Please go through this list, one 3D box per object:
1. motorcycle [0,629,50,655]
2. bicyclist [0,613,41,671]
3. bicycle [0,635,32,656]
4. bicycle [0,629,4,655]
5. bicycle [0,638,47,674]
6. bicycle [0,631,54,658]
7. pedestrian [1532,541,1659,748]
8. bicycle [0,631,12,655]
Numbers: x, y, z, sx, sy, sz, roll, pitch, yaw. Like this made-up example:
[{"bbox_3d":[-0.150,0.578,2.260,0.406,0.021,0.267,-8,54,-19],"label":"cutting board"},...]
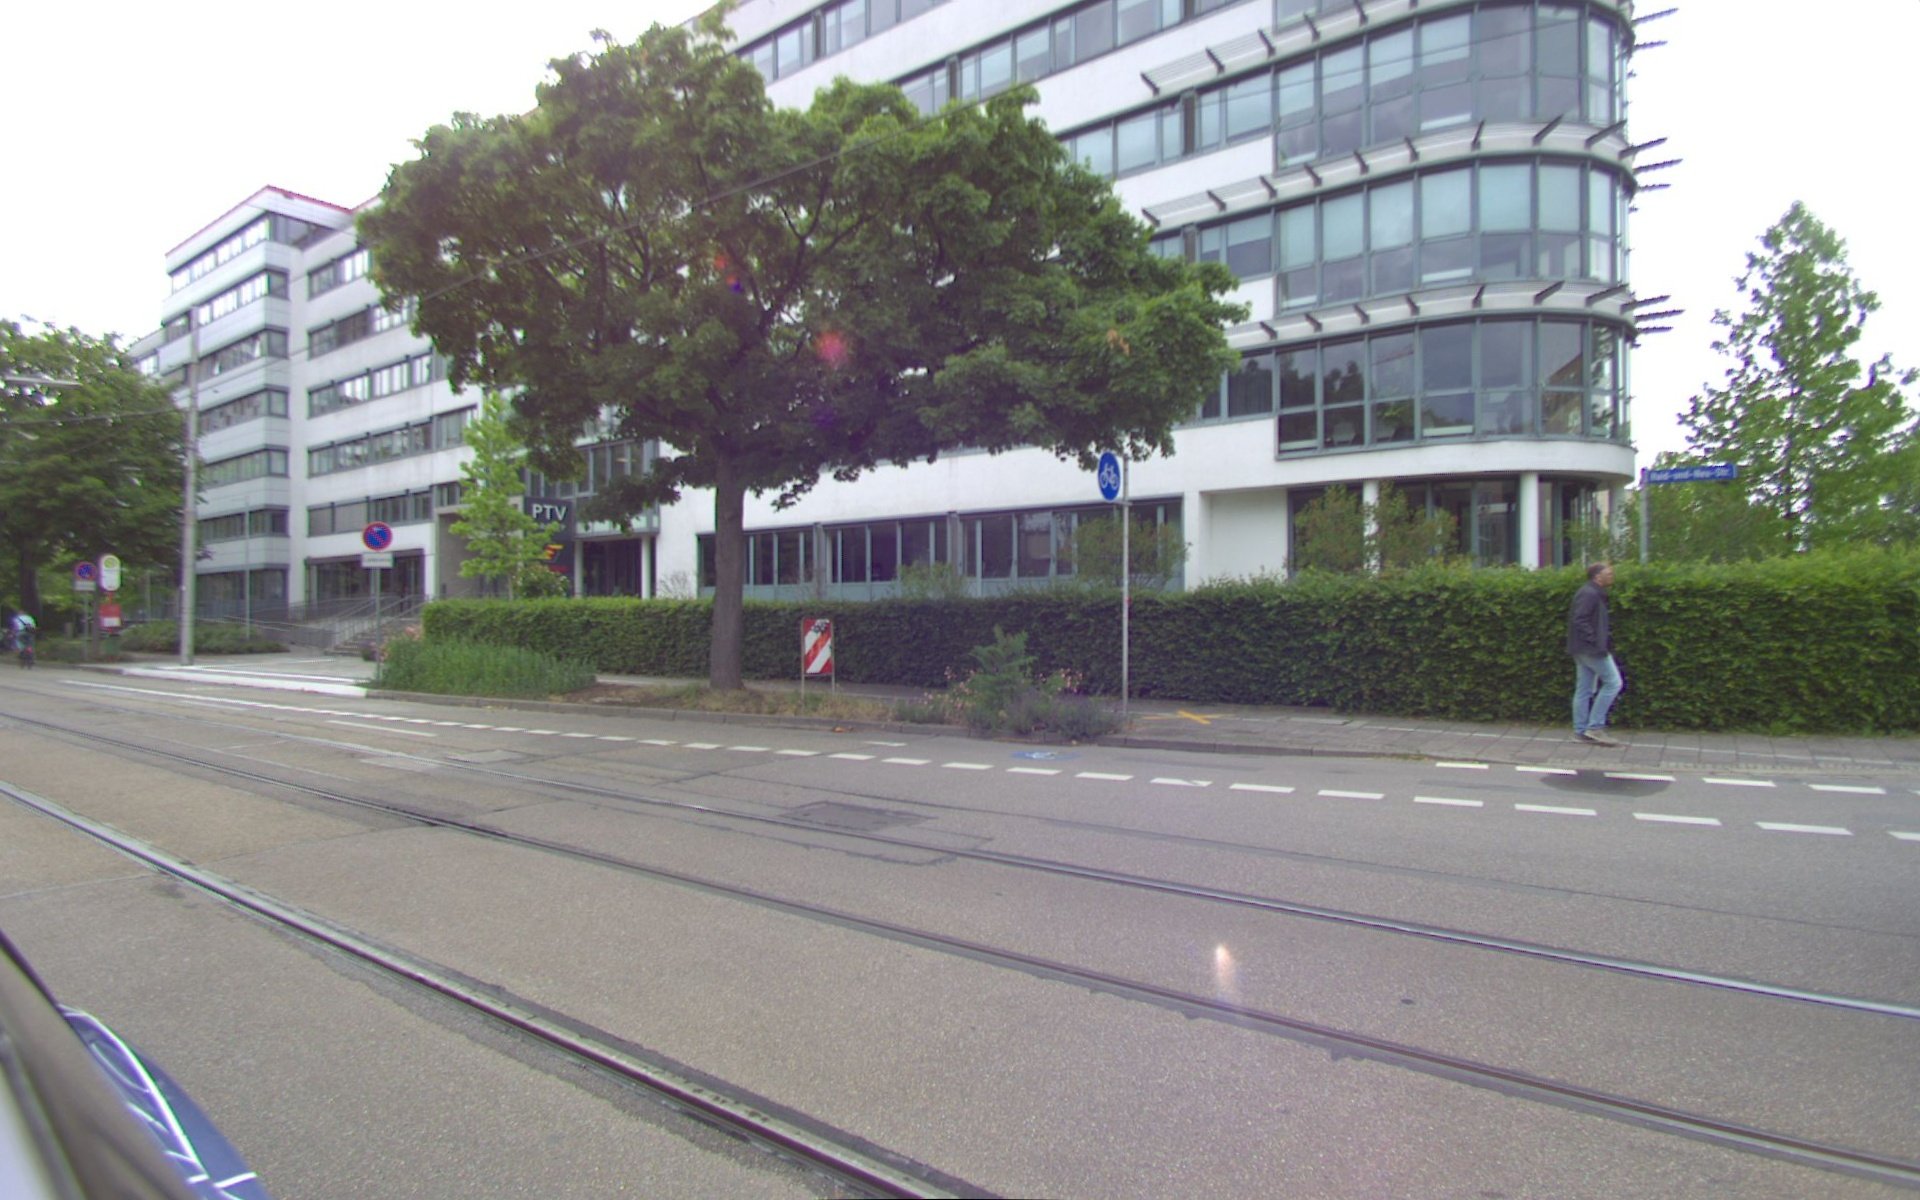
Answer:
[{"bbox_3d":[-40.665,1.818,43.807,0.730,1.058,1.776,-1,0,29],"label":"motorcycle"},{"bbox_3d":[-29.278,1.299,31.455,0.974,1.762,0.731,-1,-2,27],"label":"bicyclist"},{"bbox_3d":[-42.043,1.992,44.436,0.630,0.906,1.793,0,-2,30],"label":"bicycle"},{"bbox_3d":[-45.070,1.911,46.311,0.632,1.195,1.845,-1,-2,41],"label":"bicycle"},{"bbox_3d":[-29.127,1.731,31.364,1.947,1.082,0.583,-1,-2,27],"label":"bicycle"},{"bbox_3d":[-39.010,1.858,42.102,0.738,1.061,1.817,-1,-1,28],"label":"bicycle"},{"bbox_3d":[6.604,0.437,10.529,0.991,2.029,0.702,-1,0,44],"label":"pedestrian"},{"bbox_3d":[-44.098,1.935,45.674,0.630,1.108,1.793,0,-2,30],"label":"bicycle"}]
